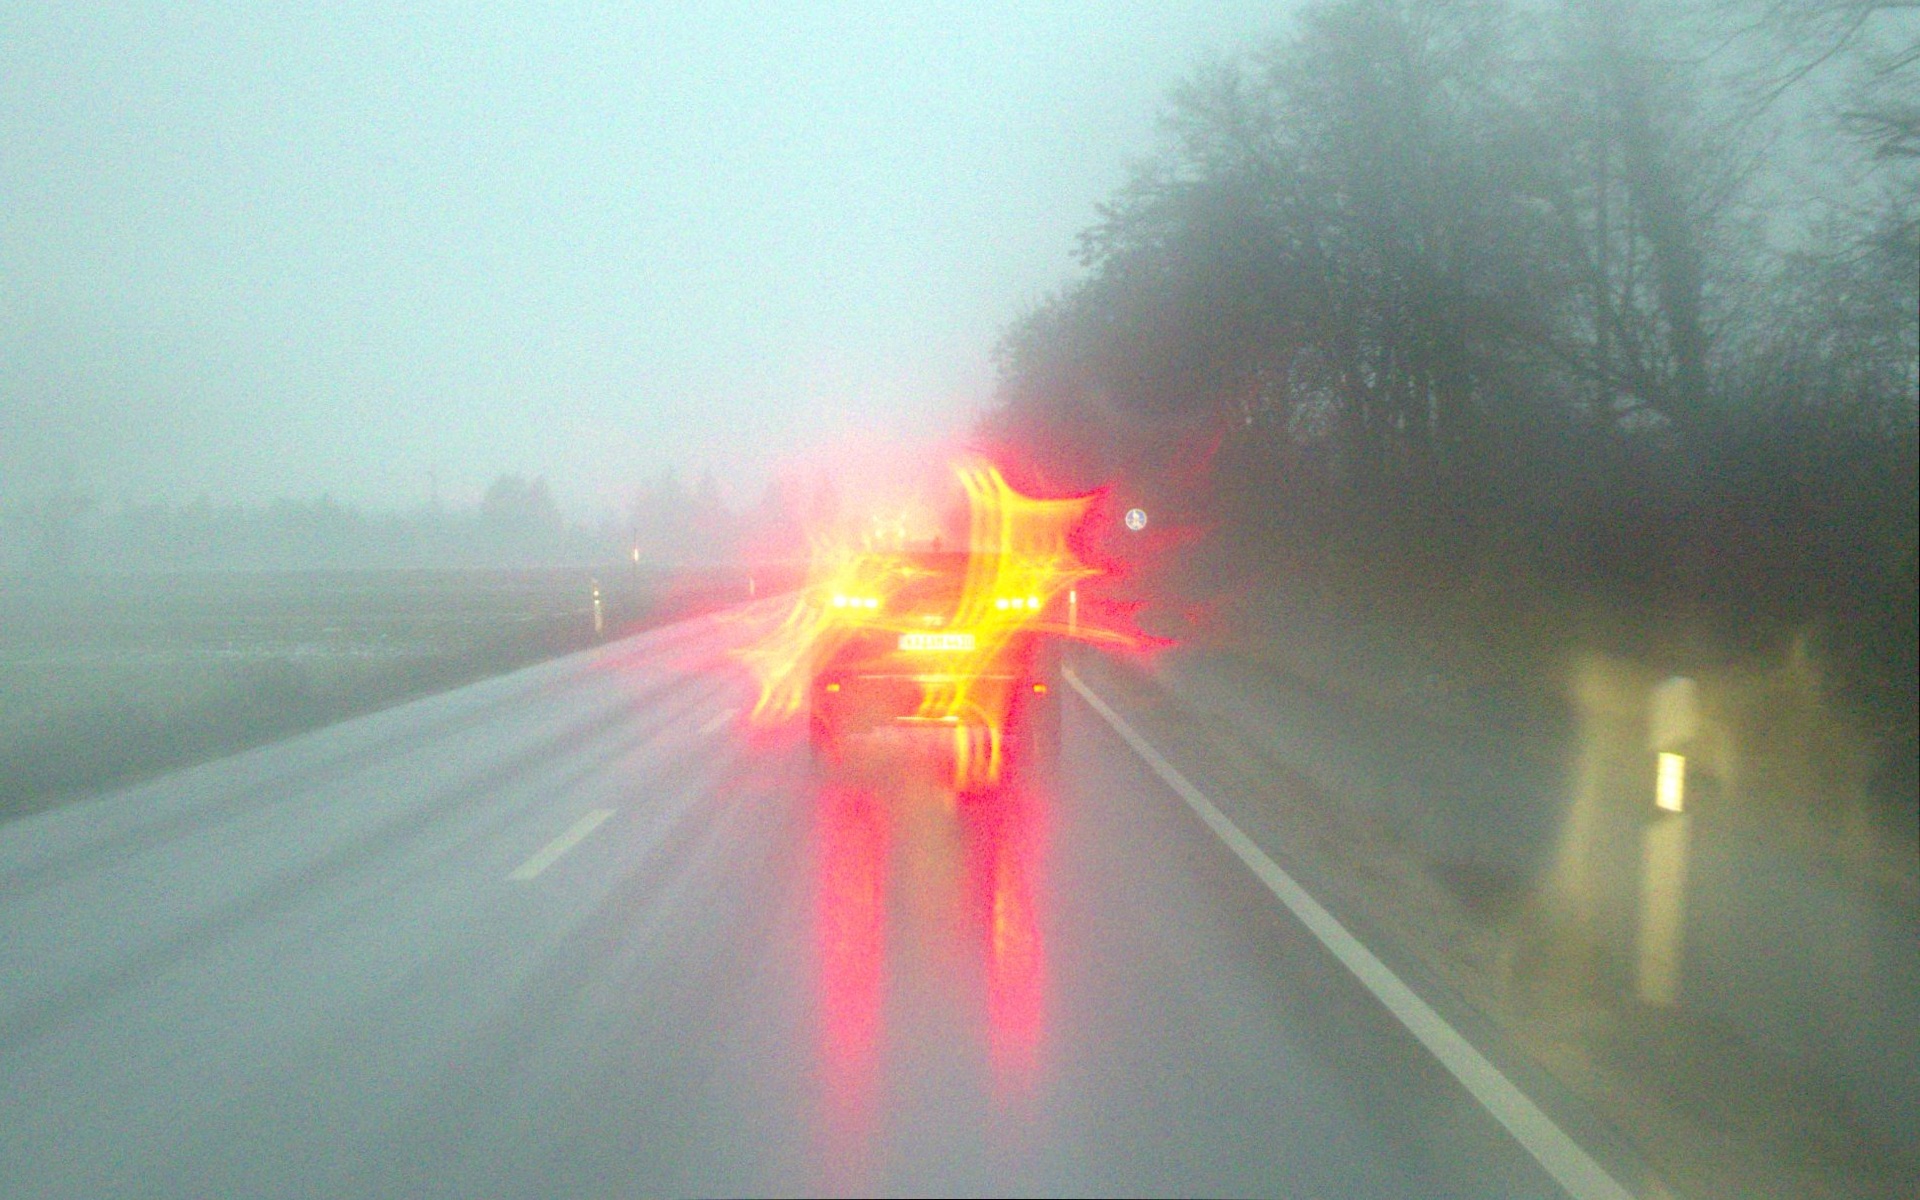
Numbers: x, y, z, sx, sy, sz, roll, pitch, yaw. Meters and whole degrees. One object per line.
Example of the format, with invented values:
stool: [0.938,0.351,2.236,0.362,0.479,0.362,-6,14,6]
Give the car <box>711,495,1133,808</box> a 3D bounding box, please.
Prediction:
car: [-0.248,0.319,26.124,2.820,2.070,5.804,1,1,0]

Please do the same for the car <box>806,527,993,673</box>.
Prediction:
car: [-0.838,-0.032,51.071,2.592,2.007,5.804,1,1,0]
